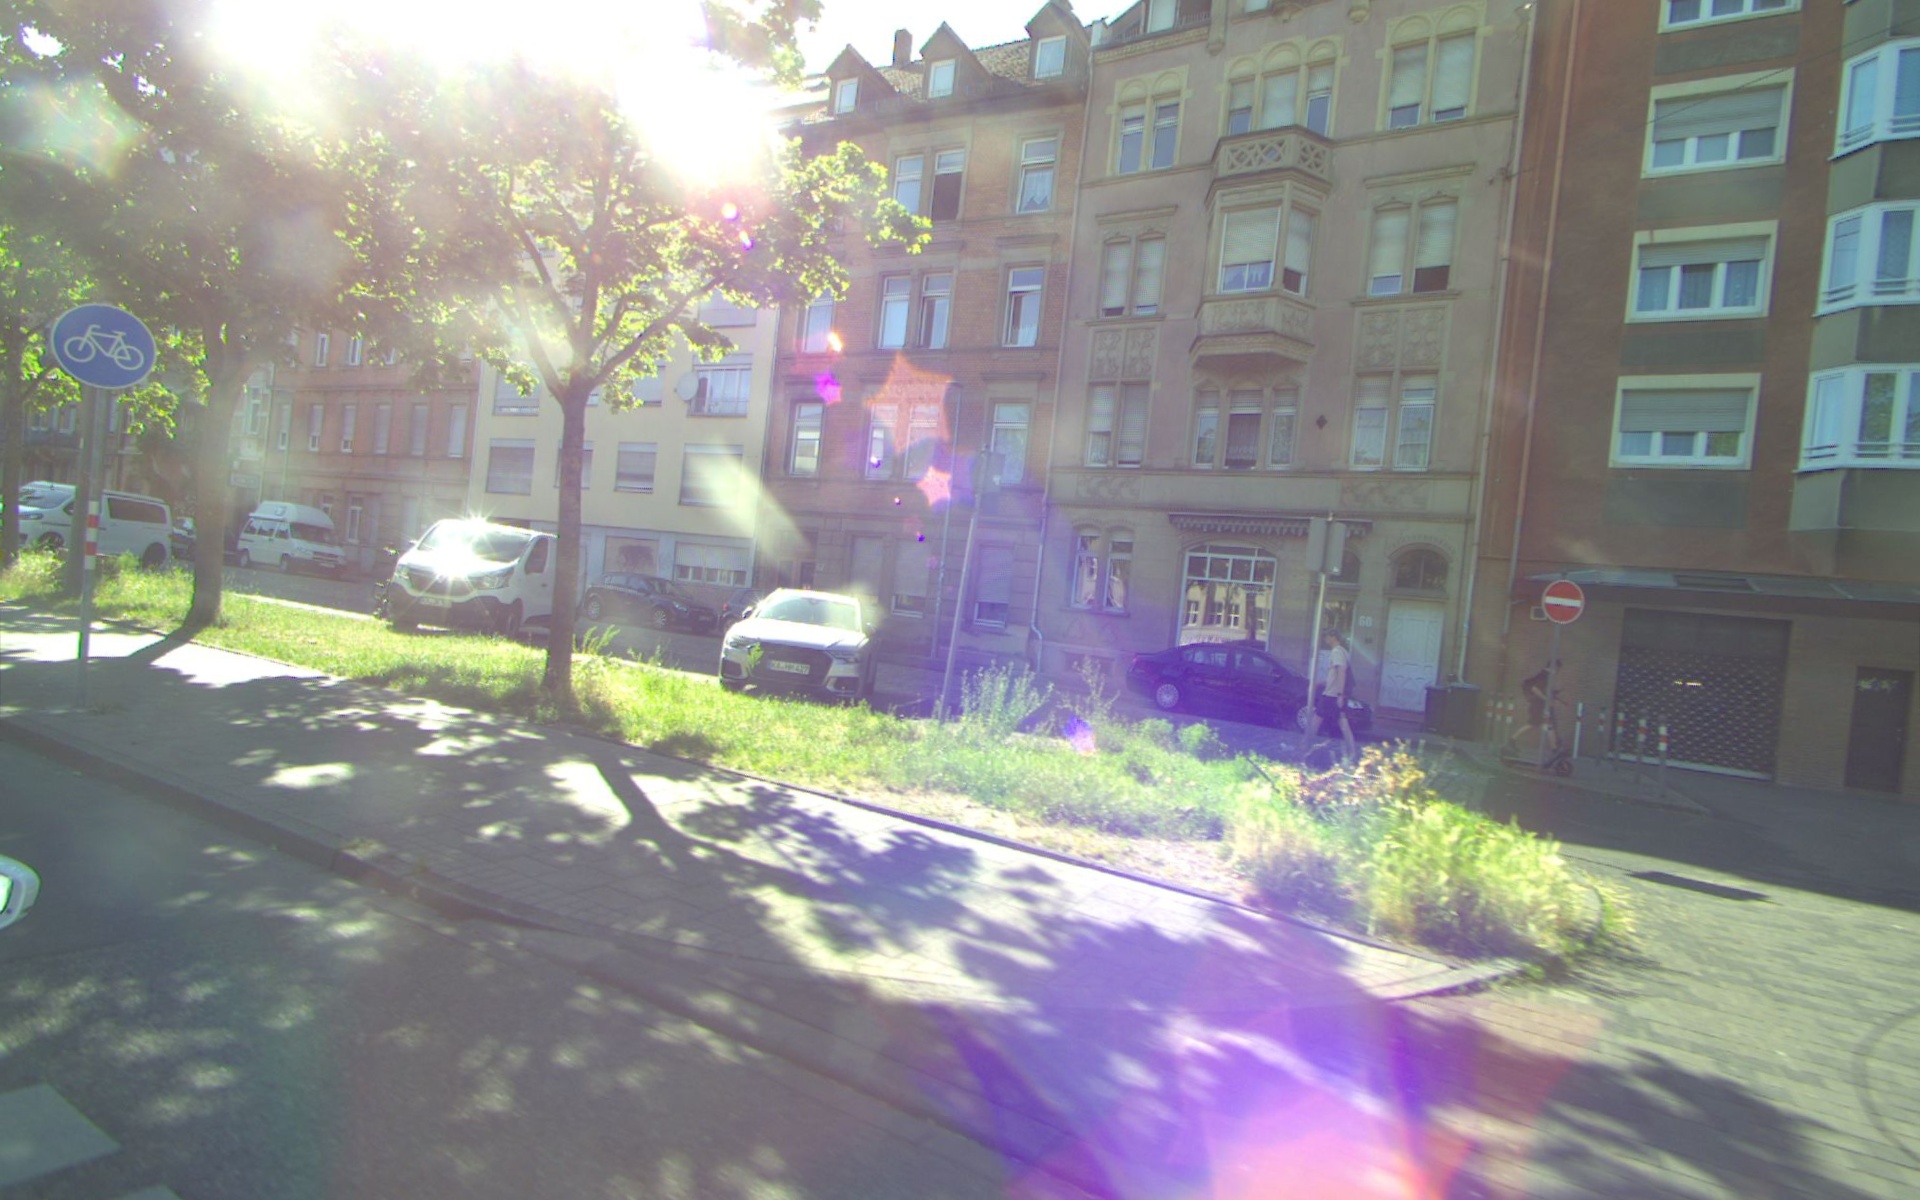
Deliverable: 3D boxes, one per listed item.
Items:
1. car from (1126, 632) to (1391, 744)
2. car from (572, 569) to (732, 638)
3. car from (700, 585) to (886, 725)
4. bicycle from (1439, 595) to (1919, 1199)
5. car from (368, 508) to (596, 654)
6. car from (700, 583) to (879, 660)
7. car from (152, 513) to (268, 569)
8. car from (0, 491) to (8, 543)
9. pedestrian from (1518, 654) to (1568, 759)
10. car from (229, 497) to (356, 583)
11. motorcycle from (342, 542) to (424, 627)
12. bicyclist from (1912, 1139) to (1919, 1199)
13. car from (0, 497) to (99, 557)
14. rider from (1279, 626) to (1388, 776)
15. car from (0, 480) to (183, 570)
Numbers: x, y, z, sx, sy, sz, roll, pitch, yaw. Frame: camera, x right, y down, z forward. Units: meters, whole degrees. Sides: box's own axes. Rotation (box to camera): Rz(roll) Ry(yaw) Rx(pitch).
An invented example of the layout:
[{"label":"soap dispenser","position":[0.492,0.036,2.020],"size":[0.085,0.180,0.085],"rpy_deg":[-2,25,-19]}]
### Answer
[{"label":"car","position":[5.709,1.623,19.408],"size":[4.416,1.492,1.995],"rpy_deg":[6,0,33]},{"label":"car","position":[-8.575,0.084,27.931],"size":[4.093,1.439,1.880],"rpy_deg":[7,1,30]},{"label":"car","position":[-2.175,0.628,14.449],"size":[1.984,1.453,4.875],"rpy_deg":[6,1,-3]},{"label":"bicycle","position":[1.718,0.923,1.340],"size":[1.906,1.658,0.438],"rpy_deg":[6,-1,30]},{"label":"car","position":[-8.362,-0.350,18.199],"size":[1.984,2.102,4.873],"rpy_deg":[6,1,-5]},{"label":"car","position":[-4.336,0.532,25.403],"size":[4.220,1.439,1.730],"rpy_deg":[7,1,30]},{"label":"car","position":[-29.582,-2.327,39.654],"size":[4.437,1.712,1.996],"rpy_deg":[6,0,30]},{"label":"car","position":[-33.970,-2.917,32.547],"size":[1.962,1.750,4.510],"rpy_deg":[5,1,0]},{"label":"pedestrian","position":[10.470,1.892,18.060],"size":[0.605,1.780,0.570],"rpy_deg":[6,1,32]},{"label":"car","position":[-24.102,-2.176,36.287],"size":[4.437,2.619,1.995],"rpy_deg":[7,2,31]},{"label":"motorcycle","position":[-10.932,-0.319,19.146],"size":[0.842,1.439,2.251],"rpy_deg":[5,1,-19]},{"label":"bicyclist","position":[1.833,0.903,1.302],"size":[0.766,1.659,0.438],"rpy_deg":[7,1,30]},{"label":"car","position":[-26.055,-2.045,27.431],"size":[1.780,1.498,4.025],"rpy_deg":[5,1,-4]},{"label":"rider","position":[5.046,1.331,13.667],"size":[1.021,1.843,0.963],"rpy_deg":[6,1,8]},{"label":"car","position":[-23.586,-1.933,26.516],"size":[2.061,2.039,5.183],"rpy_deg":[5,1,0]}]
